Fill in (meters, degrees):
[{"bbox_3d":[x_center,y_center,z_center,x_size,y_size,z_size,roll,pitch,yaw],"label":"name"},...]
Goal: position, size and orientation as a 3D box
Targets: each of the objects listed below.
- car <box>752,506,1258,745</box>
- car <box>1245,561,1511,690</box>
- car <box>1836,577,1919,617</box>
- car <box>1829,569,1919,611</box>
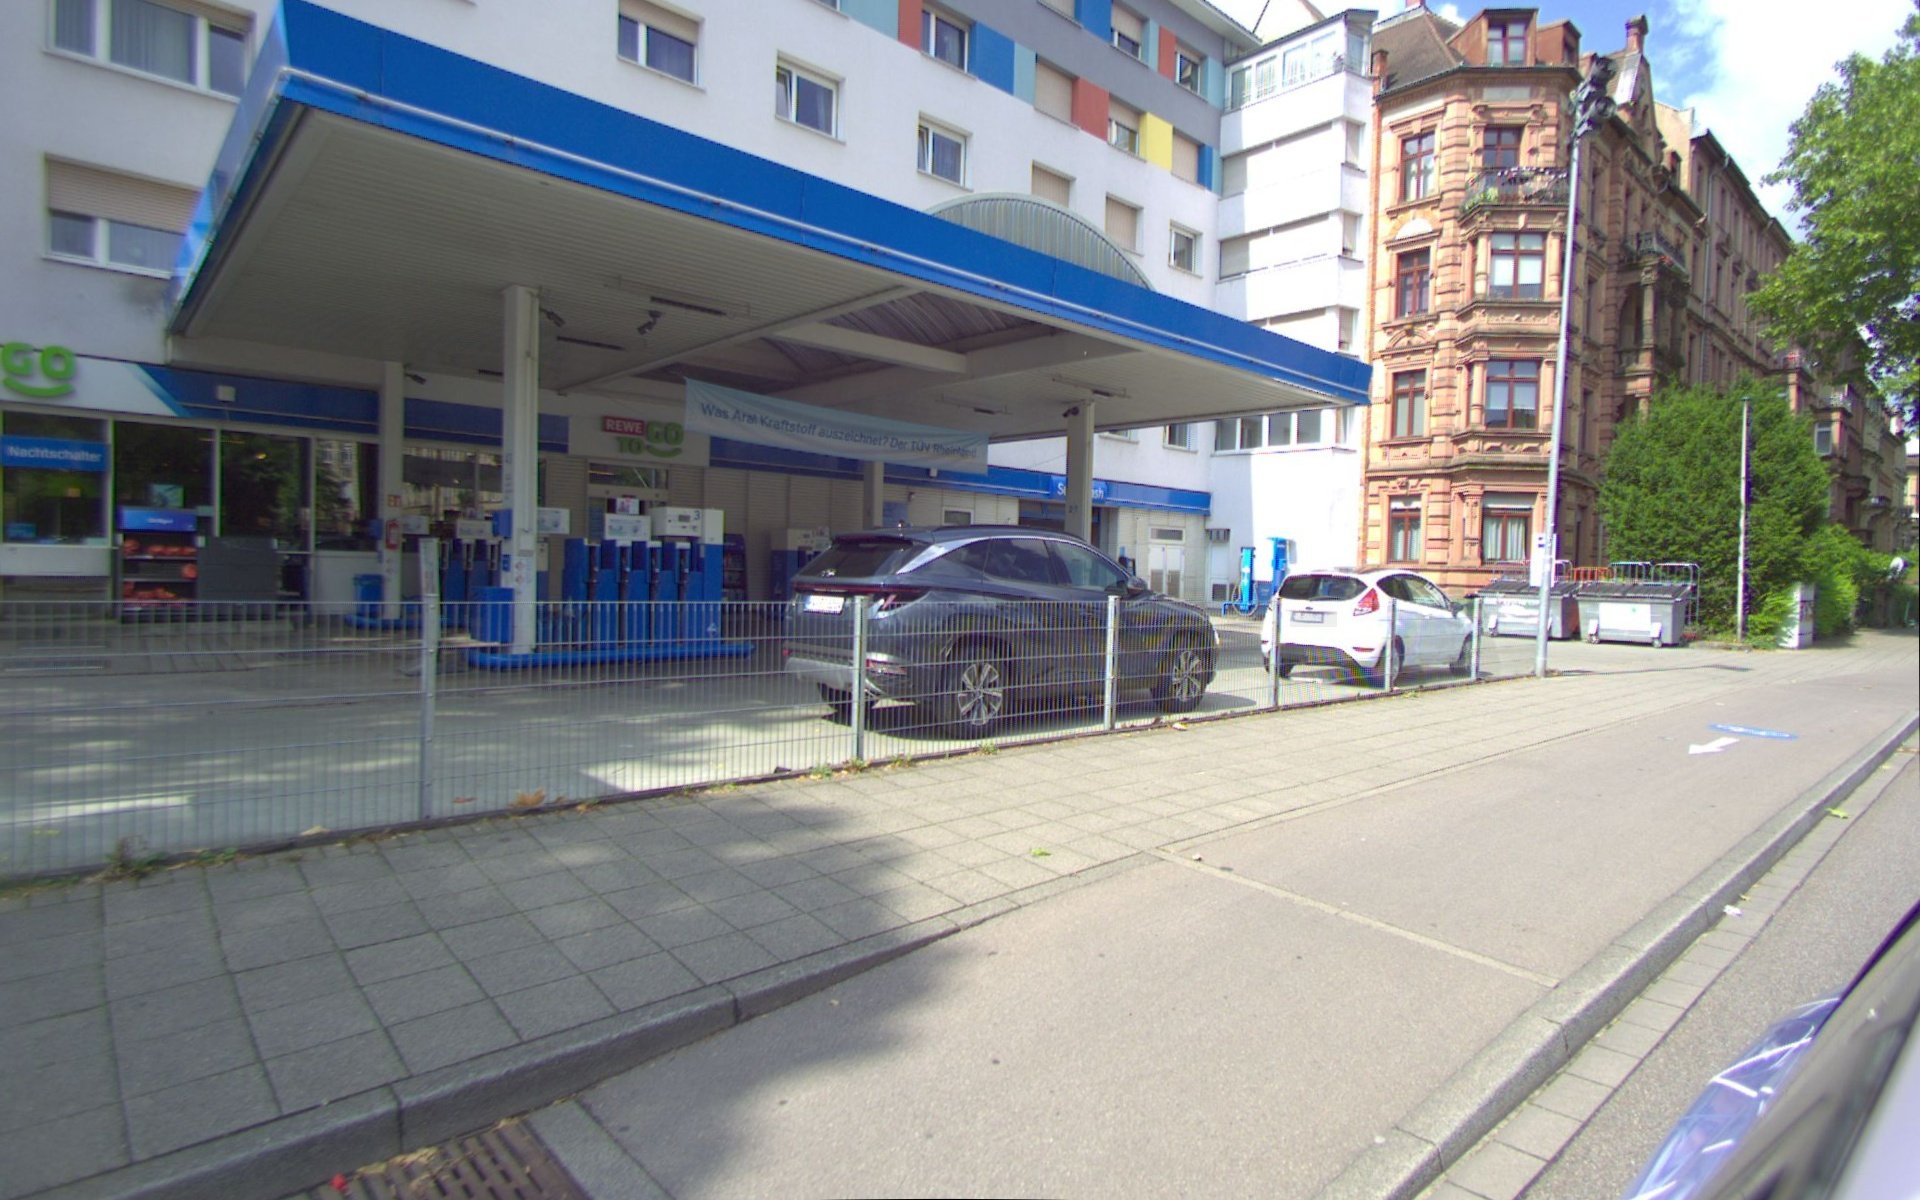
[{"bbox_3d":[0.598,0.141,9.033,4.502,1.622,1.809,0,2,-41],"label":"car"},{"bbox_3d":[5.714,0.258,13.619,3.933,1.473,1.808,0,2,-43],"label":"car"},{"bbox_3d":[47.790,-0.133,51.544,4.717,1.804,1.976,5,3,41],"label":"car"},{"bbox_3d":[51.166,-0.561,56.019,1.951,1.962,4.403,0,5,-44],"label":"car"}]
